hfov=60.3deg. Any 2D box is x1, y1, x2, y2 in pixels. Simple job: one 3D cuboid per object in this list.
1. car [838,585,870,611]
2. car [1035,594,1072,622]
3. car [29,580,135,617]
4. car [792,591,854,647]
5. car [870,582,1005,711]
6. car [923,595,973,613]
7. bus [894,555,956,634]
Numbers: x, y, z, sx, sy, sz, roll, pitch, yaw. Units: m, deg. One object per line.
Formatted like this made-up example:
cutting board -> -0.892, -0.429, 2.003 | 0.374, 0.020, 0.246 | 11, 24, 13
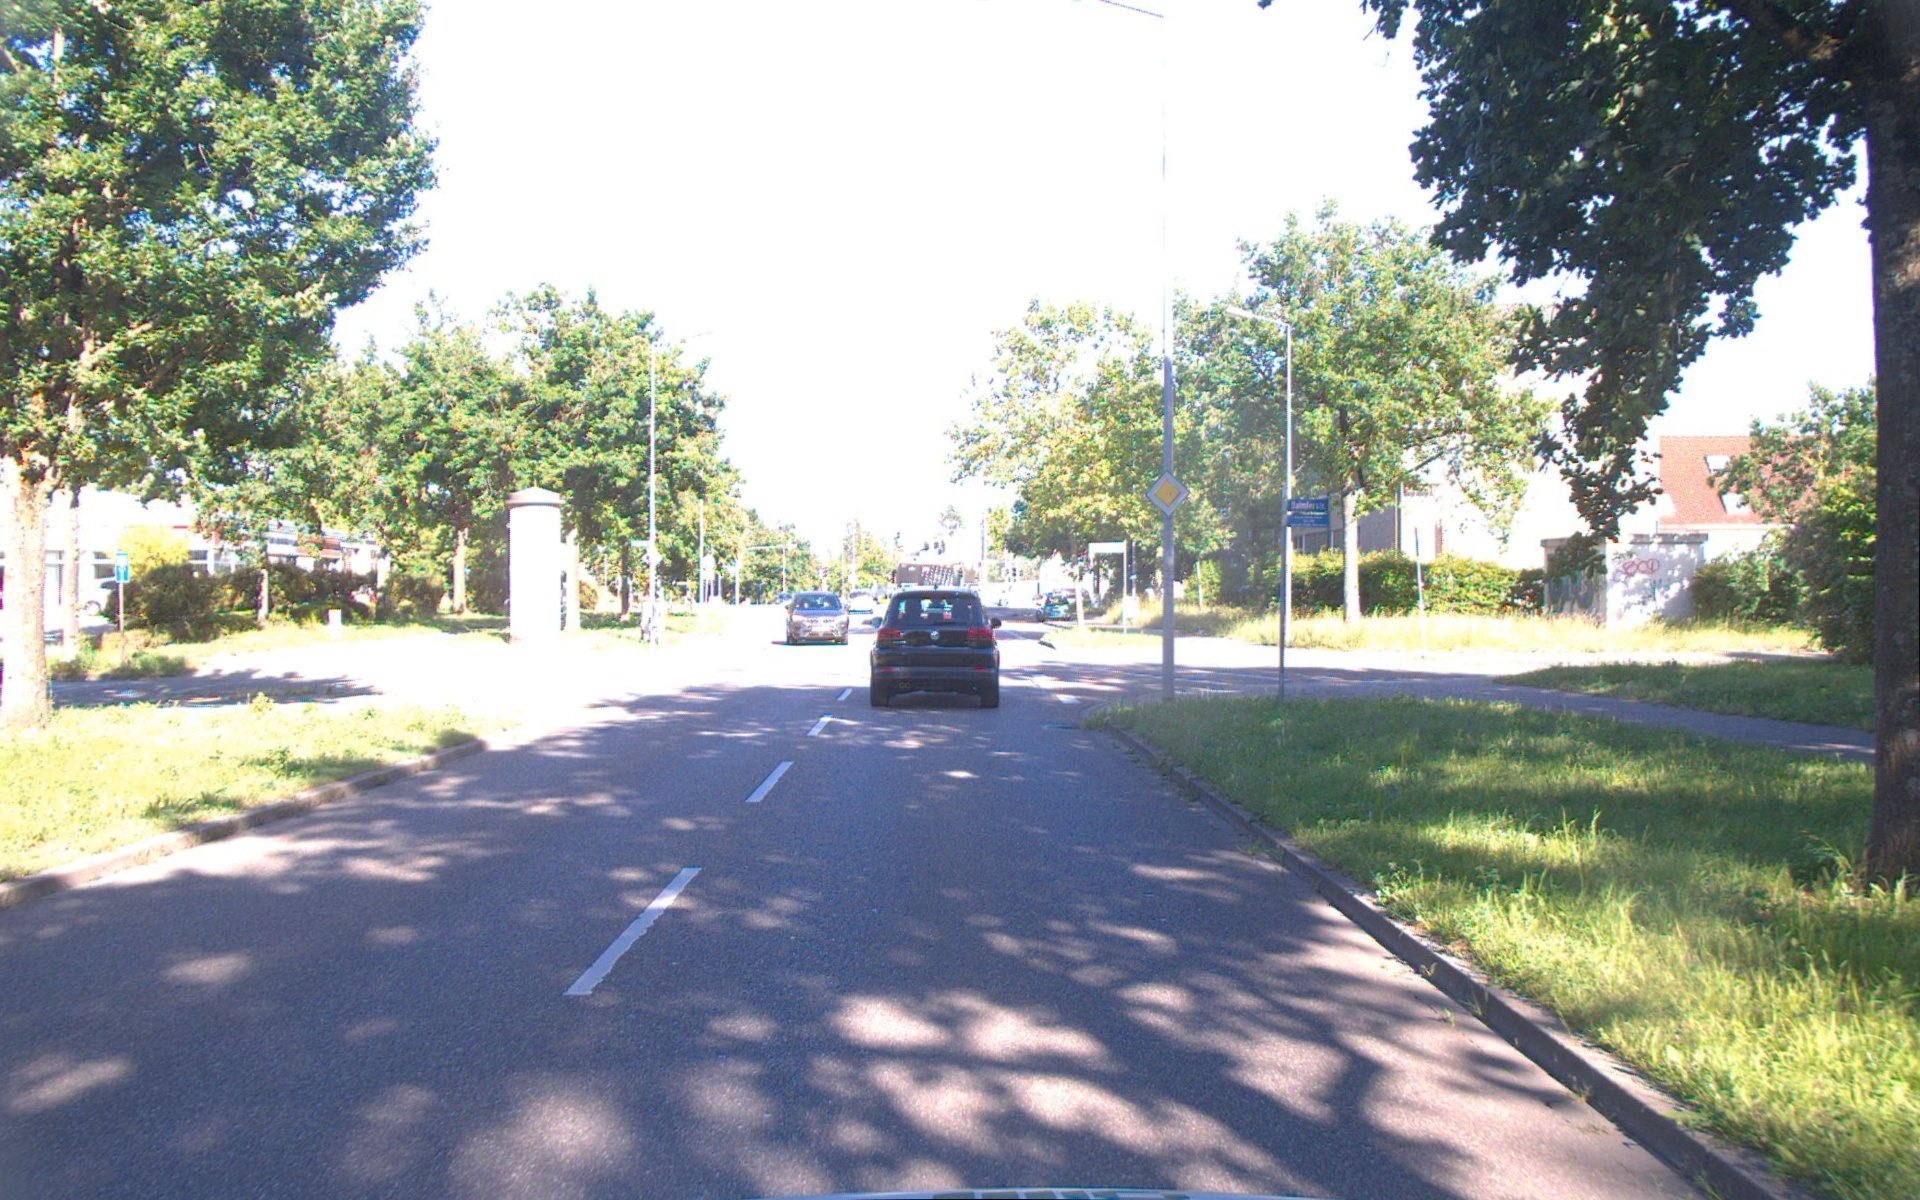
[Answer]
car -> -6.857, -0.127, 107.019 | 1.721, 1.649, 4.025 | 0, 0, -9
car -> 5.030, 0.410, 89.261 | 1.560, 1.453, 4.202 | -1, 0, -2
car -> -36.309, -0.055, 68.481 | 3.528, 1.524, 1.590 | 0, -1, -8
car -> -4.175, 0.588, 50.832 | 1.719, 1.623, 4.296 | 1, -1, -3
car -> -0.330, 0.649, 24.195 | 1.784, 1.703, 4.002 | 1, -1, -1
car -> -0.879, 0.287, 119.374 | 3.447, 1.325, 1.576 | 0, 0, 6
bus -> -1.763, -0.284, 78.696 | 2.544, 3.393, 11.977 | 1, 0, -3
